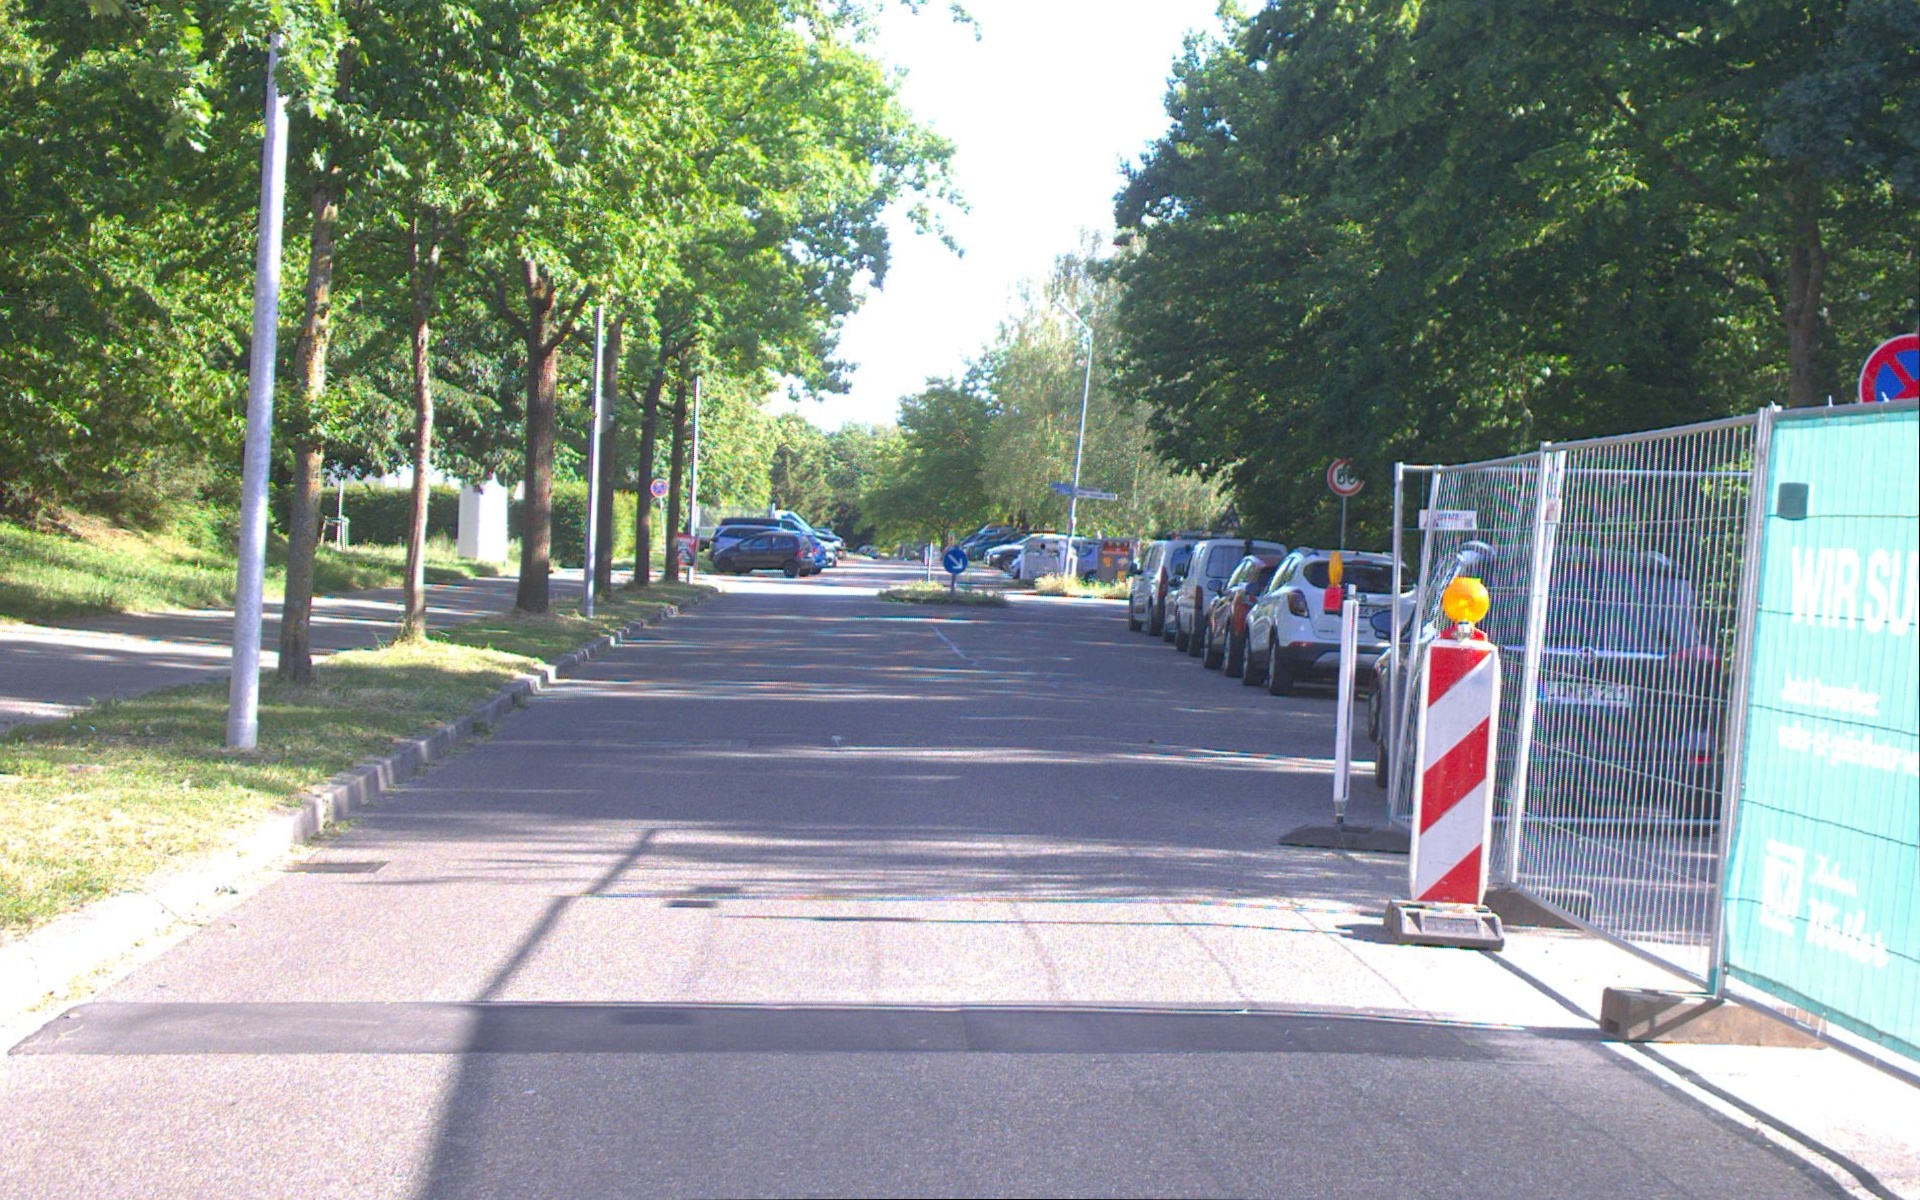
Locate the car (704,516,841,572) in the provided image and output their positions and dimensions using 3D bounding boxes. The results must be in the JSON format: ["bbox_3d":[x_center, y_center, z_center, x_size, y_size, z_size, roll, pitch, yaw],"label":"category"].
[{"bbox_3d":[-6.395,-1.913,117.488,4.319,1.571,2.046,4,1,6],"label":"car"}]

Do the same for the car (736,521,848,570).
[{"bbox_3d":[-6.529,-2.116,133.793,4.107,1.571,1.958,4,1,1],"label":"car"}]

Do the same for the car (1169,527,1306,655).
[{"bbox_3d":[4.194,-0.171,52.422,1.623,1.767,3.669,4,1,-1],"label":"car"}]

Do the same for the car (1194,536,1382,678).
[{"bbox_3d":[4.190,0.046,44.450,1.775,1.616,4.065,4,1,-2],"label":"car"}]

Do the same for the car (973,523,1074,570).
[{"bbox_3d":[2.562,-2.150,138.494,3.839,1.571,1.688,4,1,6],"label":"car"}]

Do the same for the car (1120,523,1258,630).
[{"bbox_3d":[4.200,-0.465,63.681,1.790,1.779,4.558,4,1,-4],"label":"car"}]

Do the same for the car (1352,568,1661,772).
[{"bbox_3d":[4.350,0.506,27.943,1.661,1.371,4.155,4,1,-1],"label":"car"}]

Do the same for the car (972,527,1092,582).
[{"bbox_3d":[2.445,-1.542,115.886,3.839,1.571,1.688,4,1,6],"label":"car"}]

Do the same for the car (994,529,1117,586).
[{"bbox_3d":[3.153,-1.391,113.070,3.839,1.571,1.688,4,1,6],"label":"car"}]

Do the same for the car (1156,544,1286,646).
[{"bbox_3d":[4.329,-0.113,57.540,1.691,1.507,4.207,4,1,-1],"label":"car"}]

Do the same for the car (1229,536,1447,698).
[{"bbox_3d":[4.248,0.143,39.211,1.775,1.616,4.065,4,1,-2],"label":"car"}]

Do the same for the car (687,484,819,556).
[{"bbox_3d":[-8.598,-3.321,142.699,5.199,2.612,2.294,4,1,-6],"label":"car"}]

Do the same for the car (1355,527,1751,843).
[{"bbox_3d":[3.584,0.443,21.534,1.810,1.645,4.420,4,1,3],"label":"car"}]
